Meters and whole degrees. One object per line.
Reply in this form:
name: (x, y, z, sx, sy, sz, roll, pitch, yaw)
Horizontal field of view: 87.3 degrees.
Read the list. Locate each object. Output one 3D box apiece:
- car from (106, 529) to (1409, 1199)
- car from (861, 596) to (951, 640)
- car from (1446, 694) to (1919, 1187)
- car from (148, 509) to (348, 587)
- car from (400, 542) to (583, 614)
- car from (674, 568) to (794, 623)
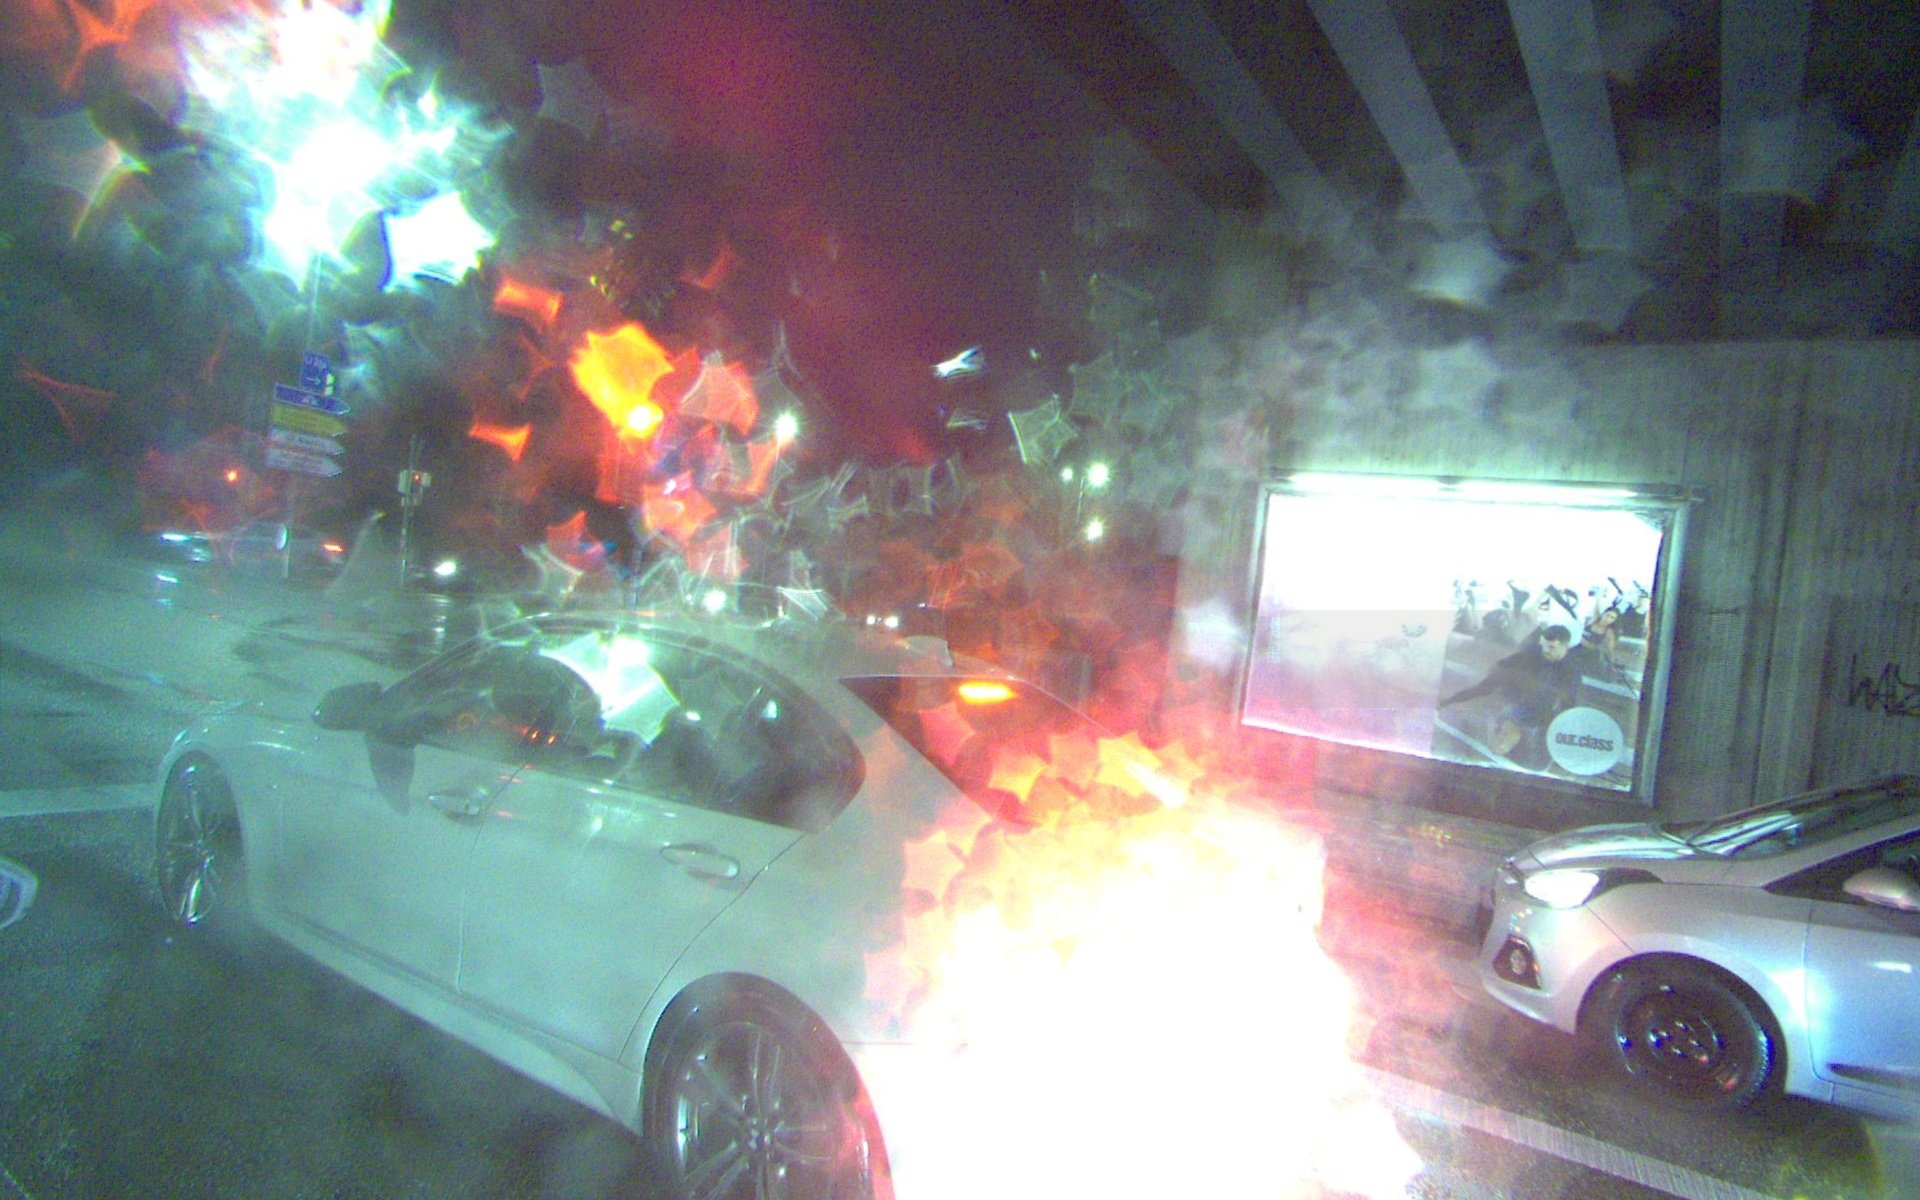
car: (-0.944, 0.705, 3.507, 4.309, 1.465, 1.722, 6, 0, 31)
car: (-2.599, 0.912, 49.608, 1.827, 1.609, 4.335, 6, -2, 40)
car: (4.299, 1.404, 3.931, 4.092, 1.465, 1.722, 6, 0, 31)
car: (-20.560, -1.466, 29.206, 1.827, 1.609, 4.335, 6, -2, 40)
car: (-14.736, -0.659, 31.910, 1.826, 1.609, 4.850, 6, -2, 38)
car: (-8.918, -0.169, 40.021, 1.827, 1.609, 4.335, 6, -2, 40)
